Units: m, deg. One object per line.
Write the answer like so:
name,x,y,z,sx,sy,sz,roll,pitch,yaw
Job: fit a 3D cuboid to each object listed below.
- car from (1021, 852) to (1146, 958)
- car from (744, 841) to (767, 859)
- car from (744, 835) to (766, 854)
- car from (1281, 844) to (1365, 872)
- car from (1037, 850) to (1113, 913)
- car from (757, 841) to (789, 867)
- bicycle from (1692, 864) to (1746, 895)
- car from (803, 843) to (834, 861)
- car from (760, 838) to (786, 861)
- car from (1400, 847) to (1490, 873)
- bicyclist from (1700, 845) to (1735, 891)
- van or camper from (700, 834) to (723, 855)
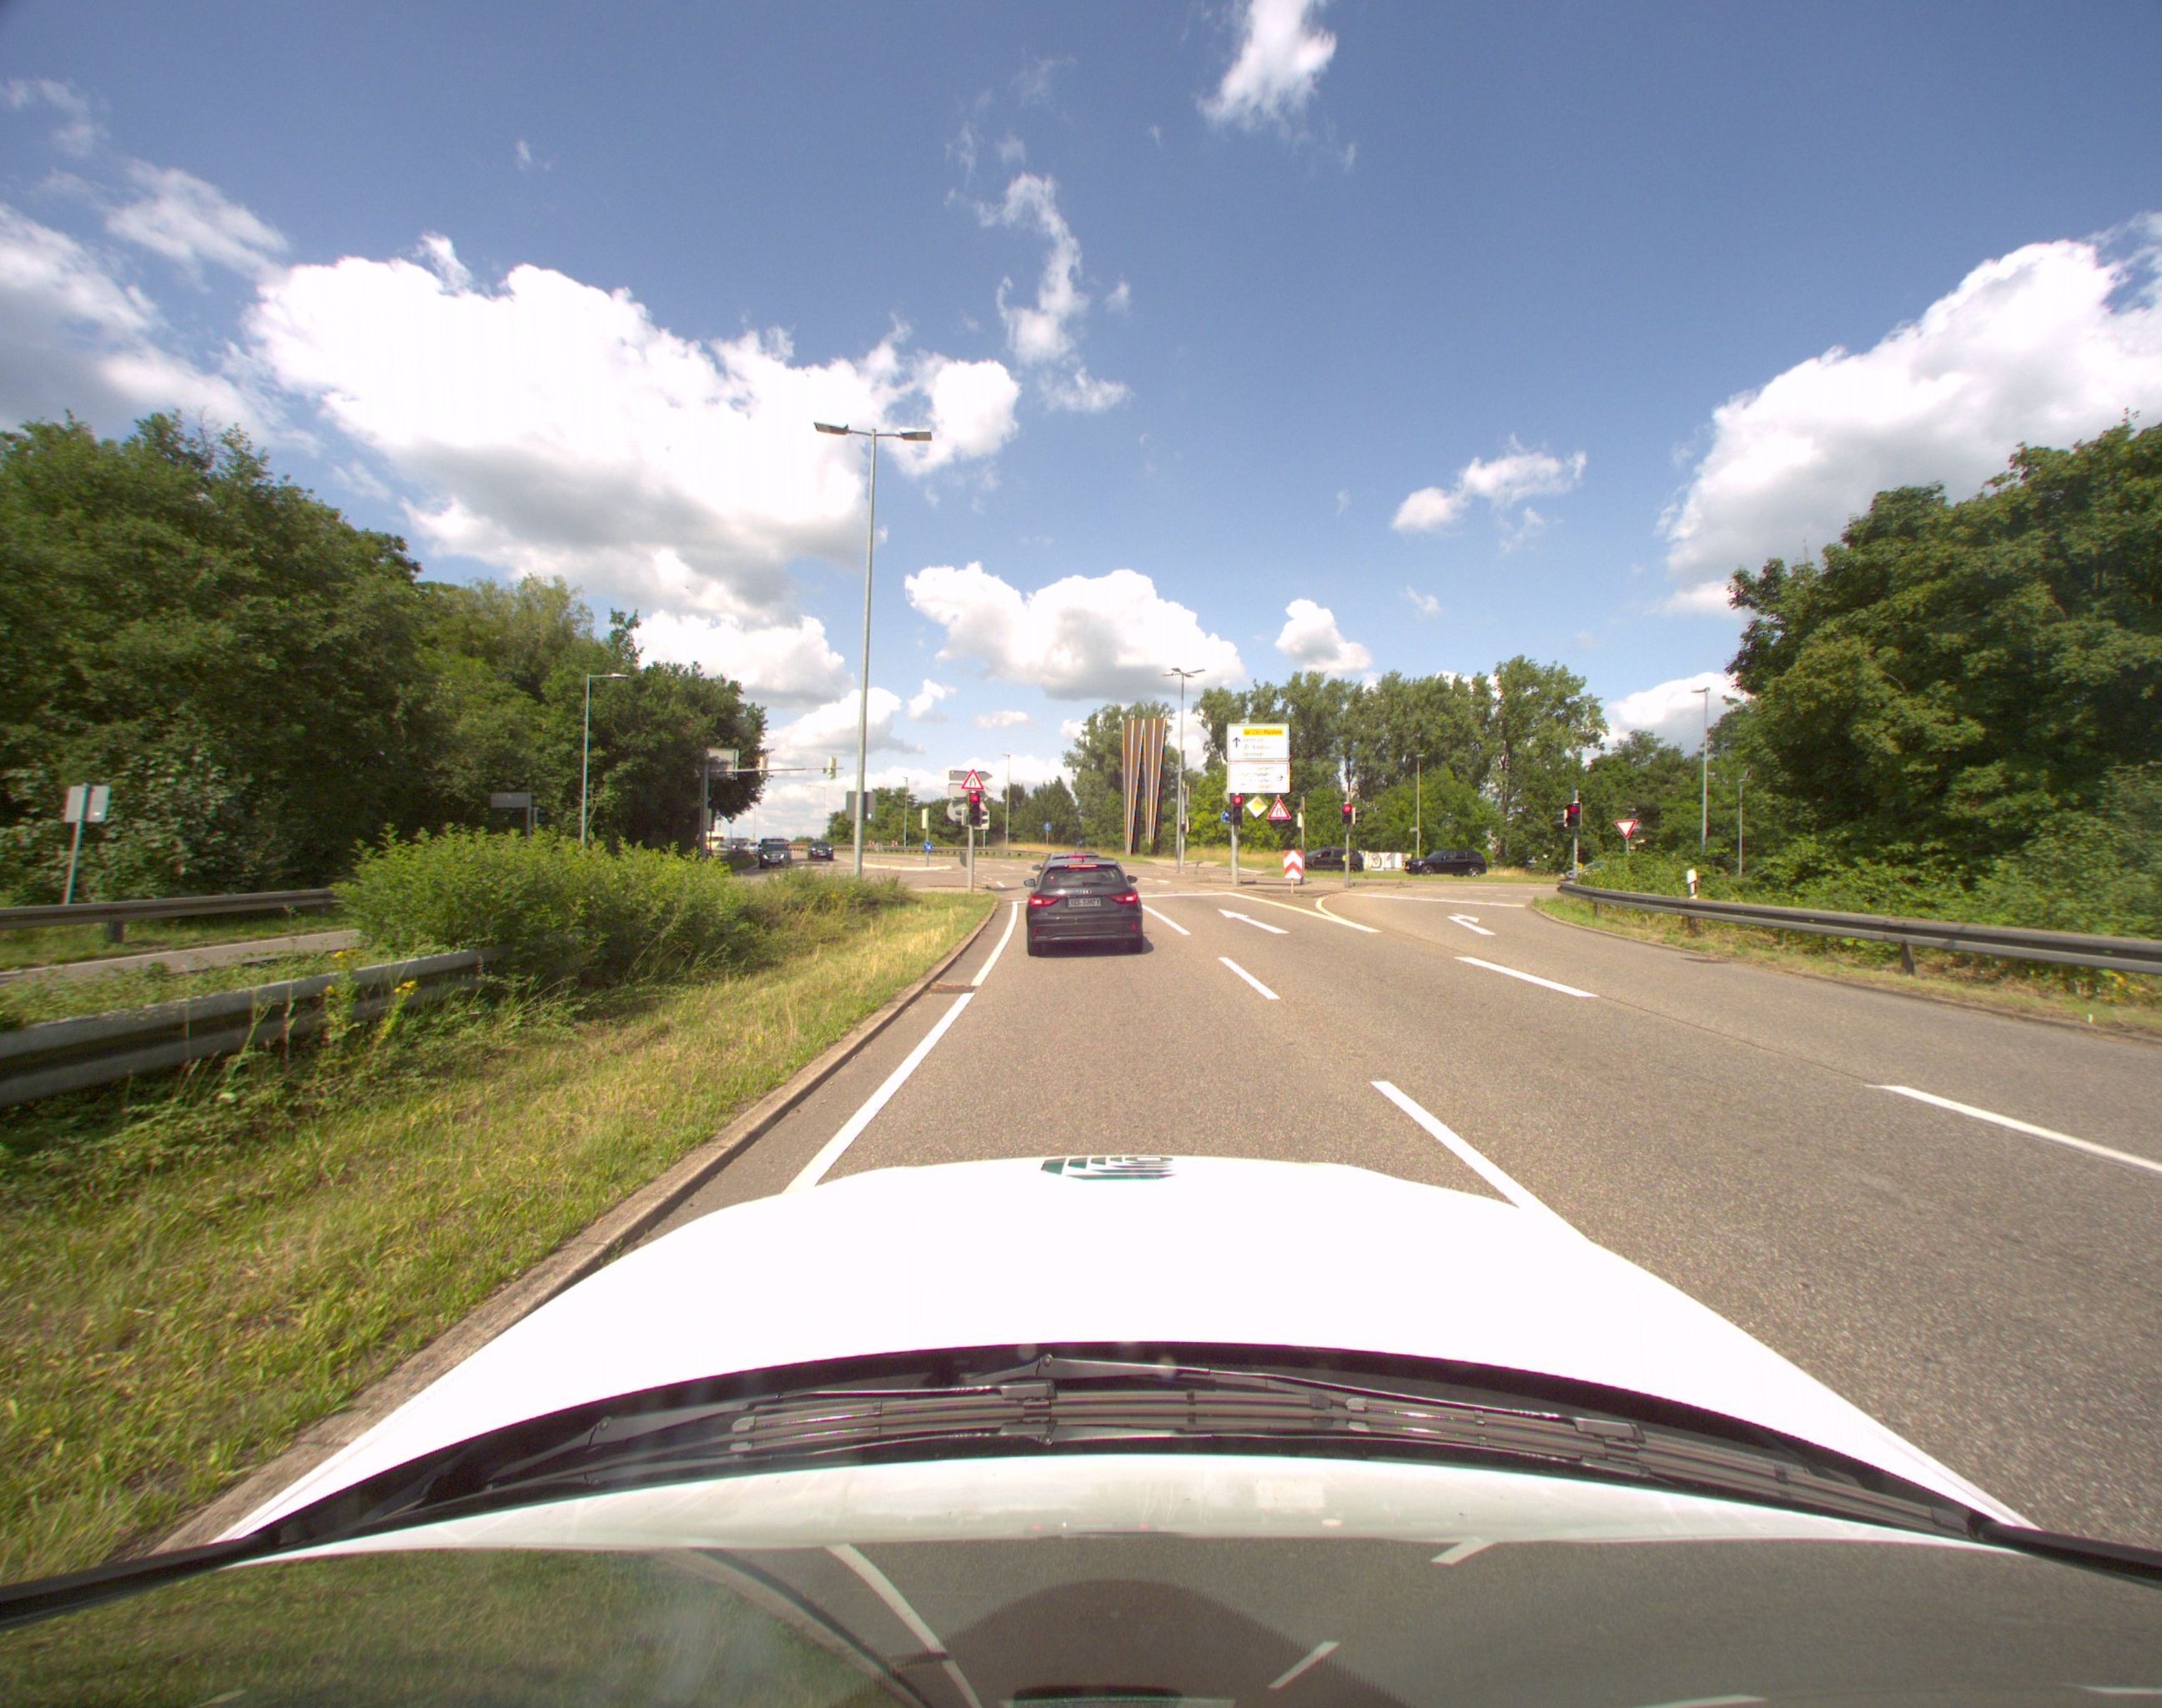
car,0.038,0.717,13.450,1.721,1.404,4.000,-2,1,0
car,-31.689,-0.421,79.253,1.852,1.705,4.290,0,0,-26
car,-34.627,-1.036,86.352,1.853,1.978,4.290,0,0,-26
car,13.553,0.214,45.794,4.255,1.545,1.736,0,0,-1
car,-0.238,0.642,21.221,1.723,1.423,3.839,-2,1,-4
car,-19.408,0.027,51.403,1.845,1.618,3.972,0,-1,-20
bicycle,22.121,0.861,28.238,2.063,1.023,0.666,0,0,-27
car,-20.716,-0.179,64.234,1.956,1.418,3.939,0,0,-24
car,-24.710,-0.380,65.317,1.850,1.802,4.297,0,0,-21
car,22.385,0.365,50.197,4.833,1.545,1.736,0,0,-1
bicyclist,22.061,0.476,28.213,0.838,1.560,0.666,1,0,-27
van or camper,-49.263,-1.252,108.383,2.007,2.683,6.795,0,0,-31
